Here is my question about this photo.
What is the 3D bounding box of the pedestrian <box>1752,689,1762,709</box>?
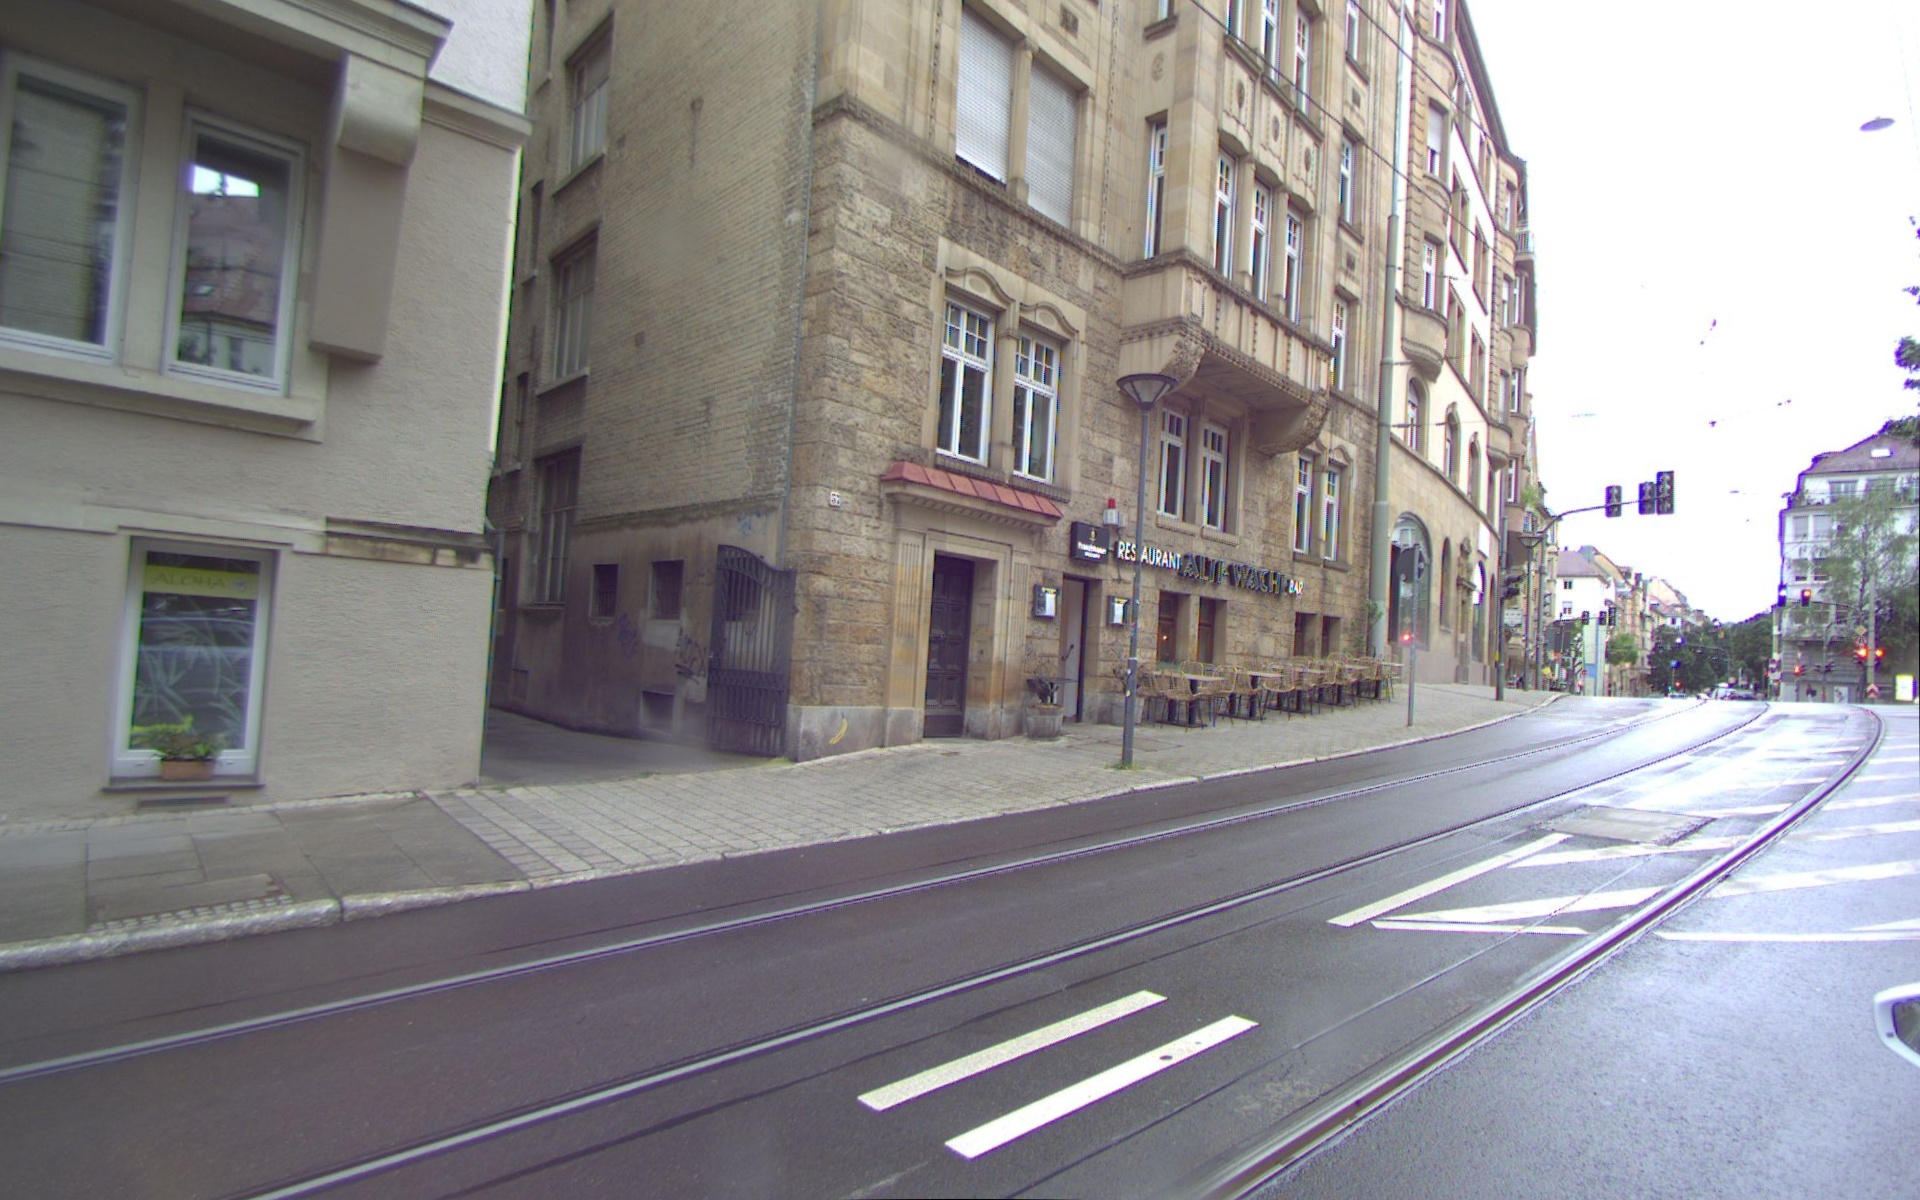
[{"bbox_3d":[69.699,8.633,87.847,0.640,1.683,0.647,1,-1,40],"label":"pedestrian"}]

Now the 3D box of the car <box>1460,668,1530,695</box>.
[{"bbox_3d":[34.906,5.305,65.545,3.932,1.530,1.795,-1,-2,33],"label":"car"}]

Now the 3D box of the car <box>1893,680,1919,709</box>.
[{"bbox_3d":[60.440,5.855,62.350,3.930,1.635,1.796,1,-2,-12],"label":"car"}]

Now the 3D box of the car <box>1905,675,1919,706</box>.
[{"bbox_3d":[49.852,4.562,50.907,3.954,1.530,1.786,2,-4,-31],"label":"car"}]
